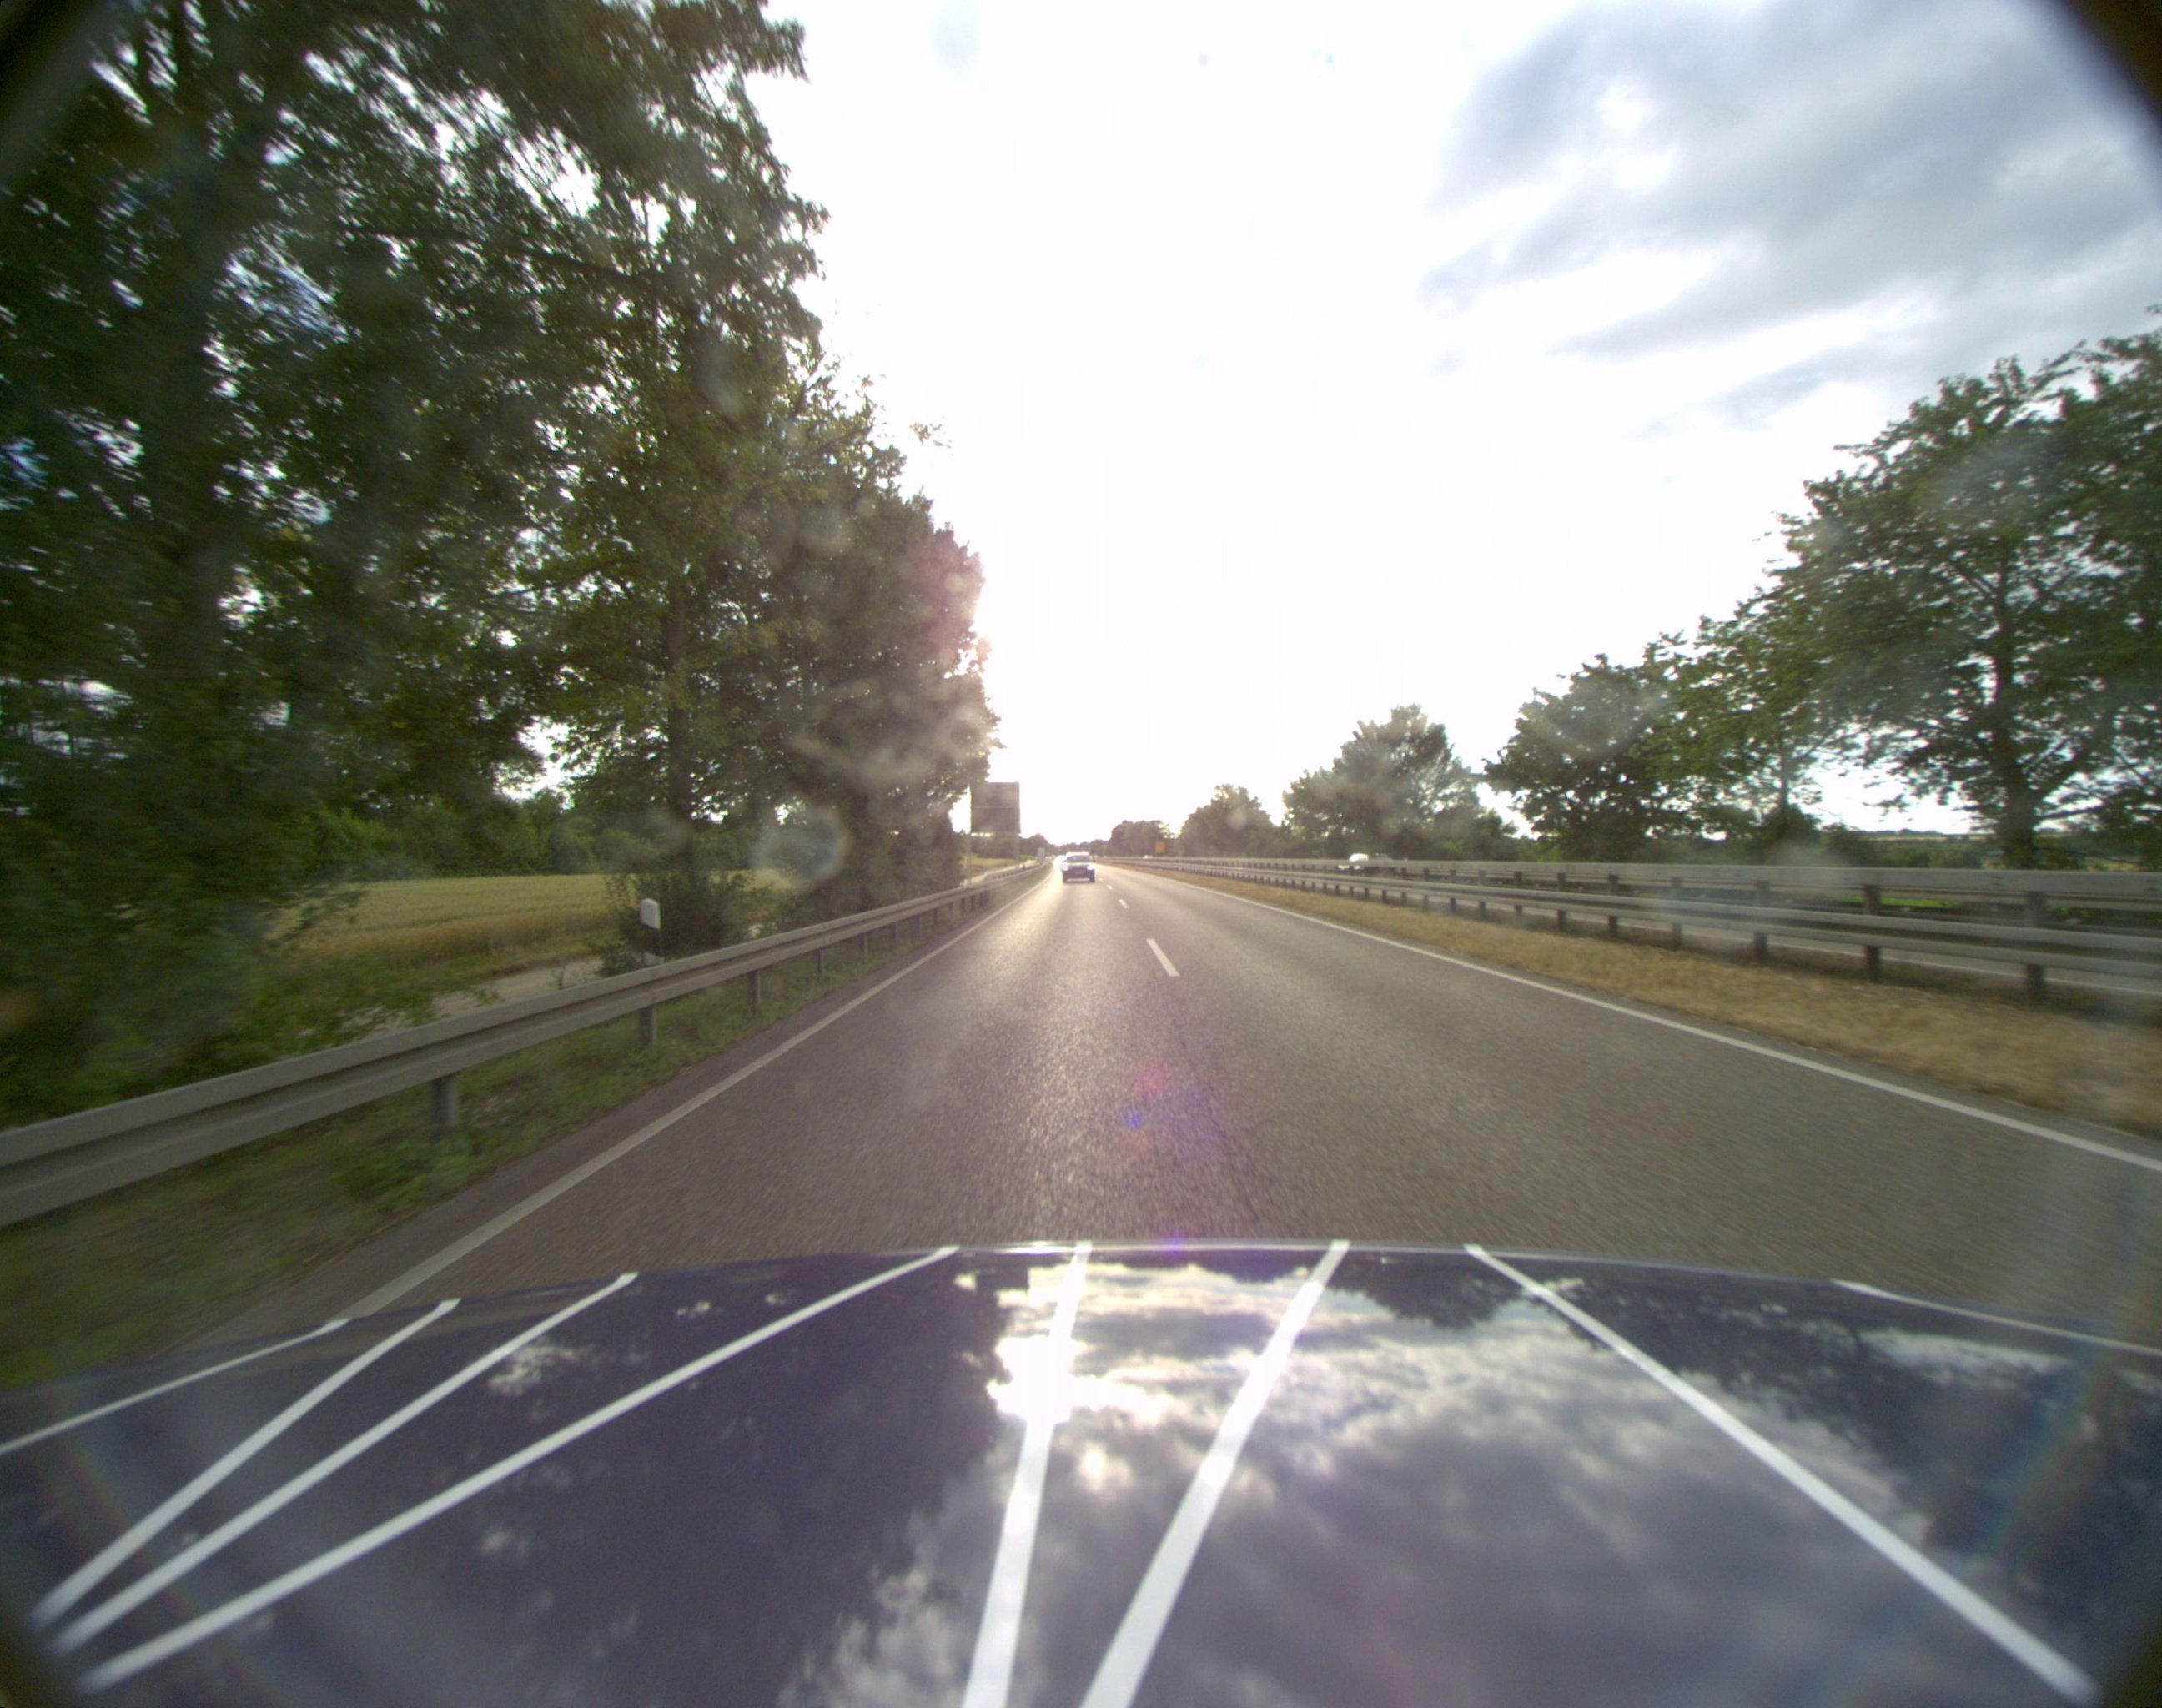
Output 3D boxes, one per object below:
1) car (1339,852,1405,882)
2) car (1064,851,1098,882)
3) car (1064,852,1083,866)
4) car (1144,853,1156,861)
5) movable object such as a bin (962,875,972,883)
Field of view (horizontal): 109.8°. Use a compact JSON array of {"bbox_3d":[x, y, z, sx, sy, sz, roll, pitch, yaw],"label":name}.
[{"bbox_3d":[15.629,0.653,41.053,1.829,1.535,4.587,0,0,1],"label":"car"},{"bbox_3d":[-0.014,0.695,44.368,1.863,1.636,3.999,-2,1,0],"label":"car"},{"bbox_3d":[-0.808,0.483,76.851,1.776,1.389,3.999,-2,1,-2],"label":"car"},{"bbox_3d":[13.228,0.540,144.979,1.786,1.344,4.575,-1,0,-1],"label":"car"},{"bbox_3d":[-10.350,2.240,69.055,0.734,0.642,1.235,-3,1,-1],"label":"movable object such as a bin"}]
